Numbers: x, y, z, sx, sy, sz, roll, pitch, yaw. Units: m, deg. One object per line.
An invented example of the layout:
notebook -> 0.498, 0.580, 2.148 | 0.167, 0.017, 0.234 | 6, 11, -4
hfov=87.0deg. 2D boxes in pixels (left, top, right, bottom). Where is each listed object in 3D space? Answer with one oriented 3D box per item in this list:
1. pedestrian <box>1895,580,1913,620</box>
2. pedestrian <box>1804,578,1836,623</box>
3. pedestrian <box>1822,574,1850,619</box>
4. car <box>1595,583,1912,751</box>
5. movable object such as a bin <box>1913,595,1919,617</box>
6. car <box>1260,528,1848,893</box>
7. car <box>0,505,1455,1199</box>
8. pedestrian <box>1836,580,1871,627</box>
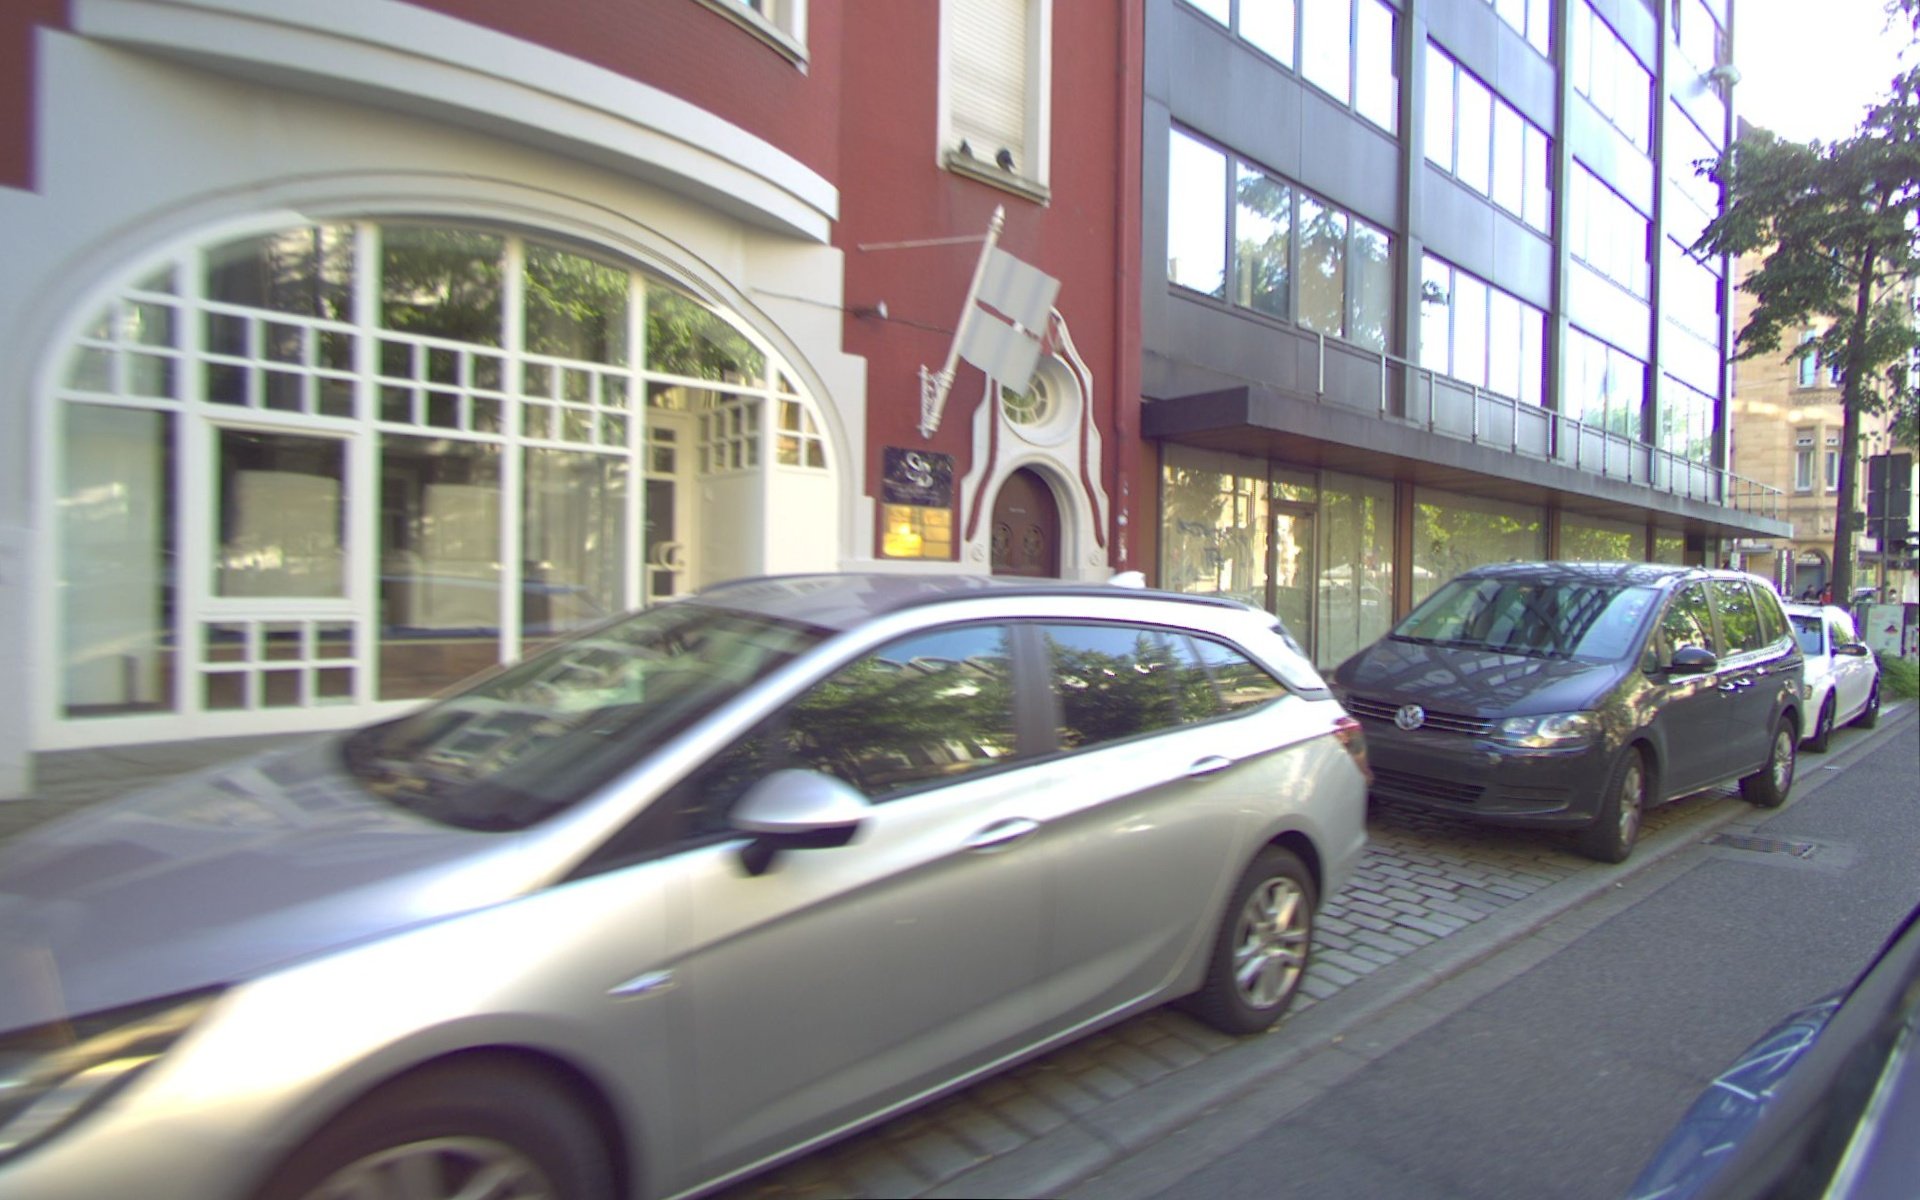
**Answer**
pedestrian -> 41.681, 0.003, 44.697 | 0.588, 1.764, 0.534 | 0, 1, -45
pedestrian -> 32.852, 0.012, 38.679 | 0.701, 1.713, 0.621 | 0, 1, -13
pedestrian -> 33.835, -0.141, 39.089 | 0.701, 1.713, 0.500 | 0, 1, -13
car -> 9.132, 0.602, 11.489 | 4.756, 1.419, 1.827 | 0, 4, -40
movable object such as a bin -> 46.071, 0.323, 48.216 | 0.650, 1.061, 0.727 | 3, 3, -30
car -> 4.449, 0.514, 7.243 | 4.839, 1.799, 1.828 | 0, 4, -37
car -> -0.404, 0.626, 3.302 | 4.757, 1.615, 1.826 | 0, 4, -41
pedestrian -> 32.986, 0.121, 37.360 | 0.663, 1.712, 0.619 | 0, 3, 4
